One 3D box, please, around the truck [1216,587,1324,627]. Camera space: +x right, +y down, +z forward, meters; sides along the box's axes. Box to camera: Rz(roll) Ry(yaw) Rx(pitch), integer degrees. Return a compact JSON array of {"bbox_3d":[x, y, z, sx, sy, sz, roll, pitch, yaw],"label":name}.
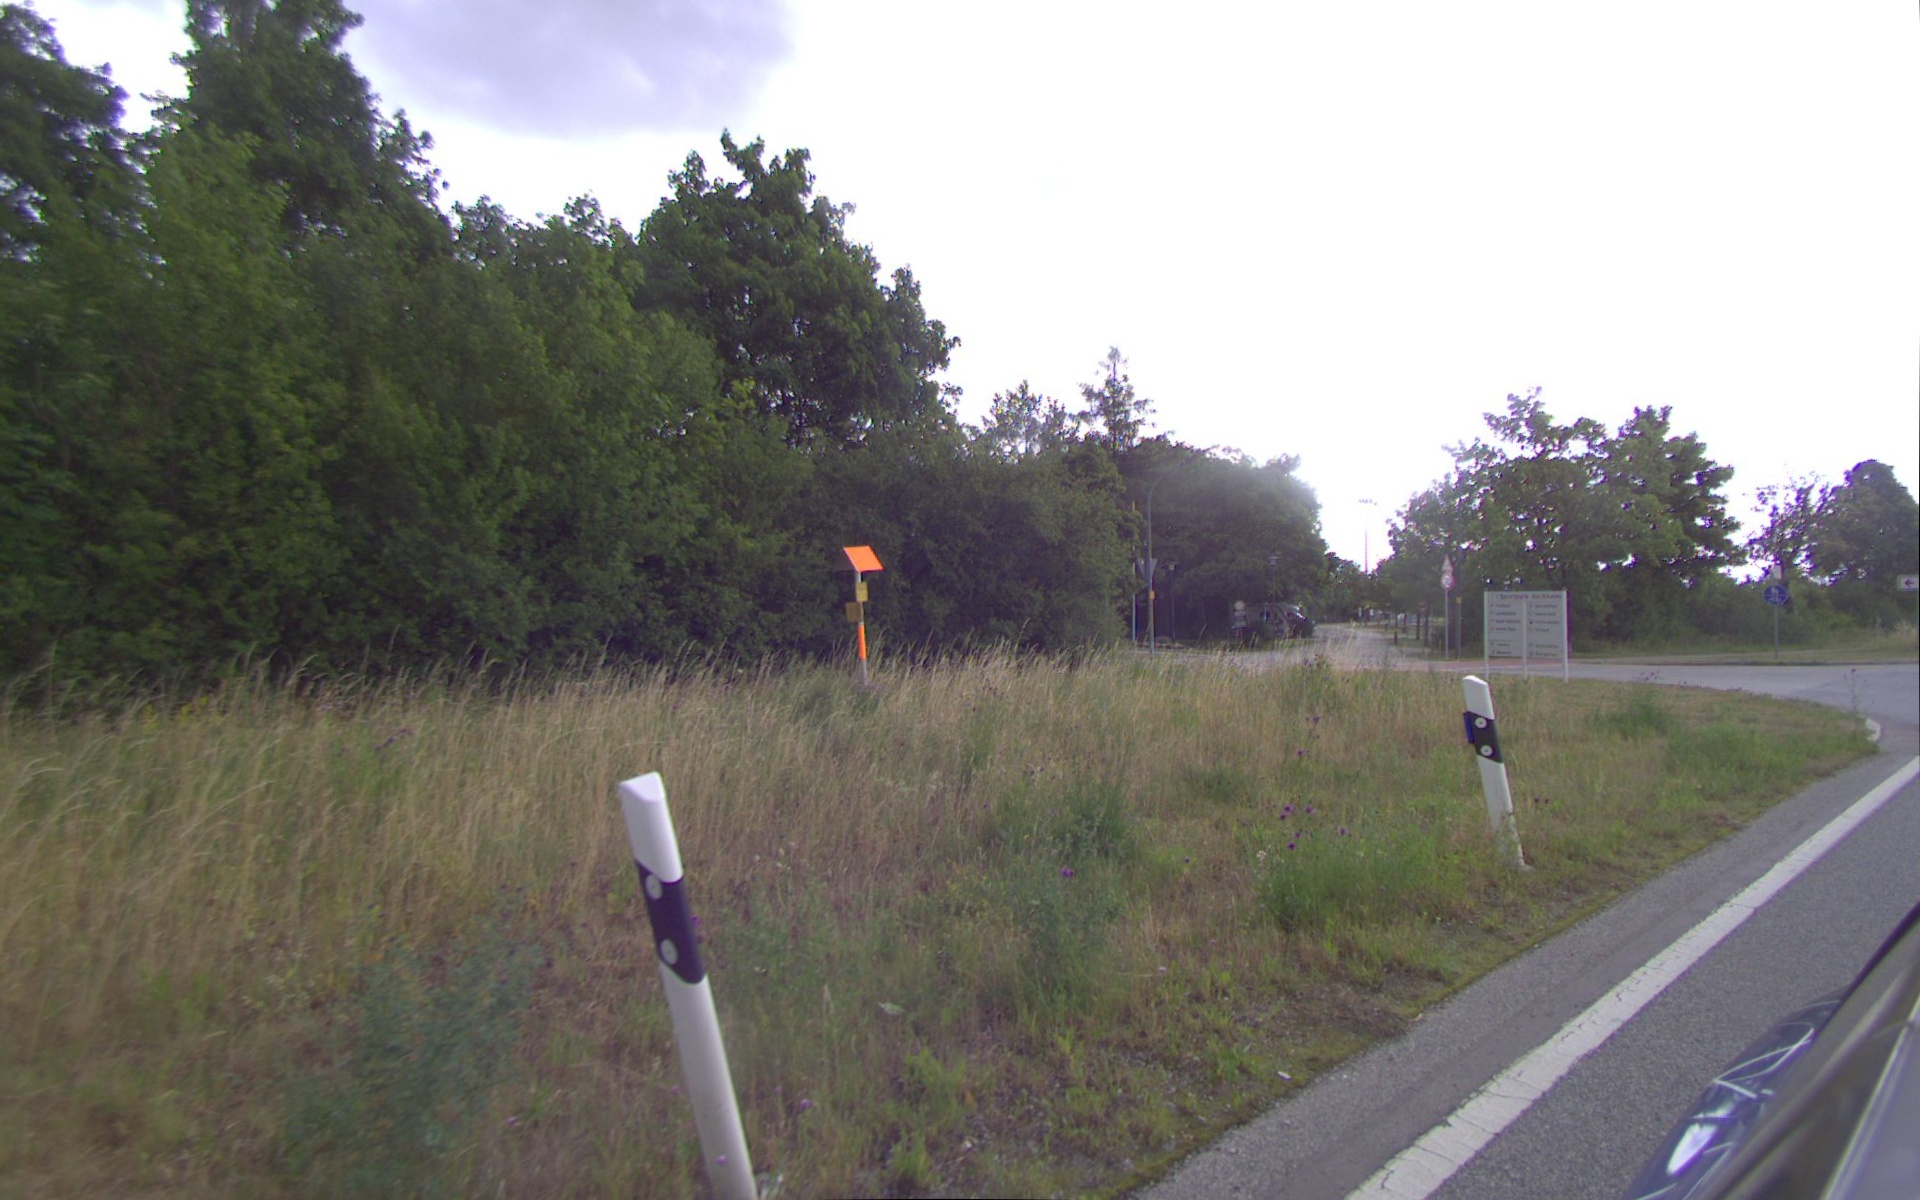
[{"bbox_3d":[25.663,0.580,83.894,8.281,3.149,3.048,0,0,24],"label":"truck"}]
